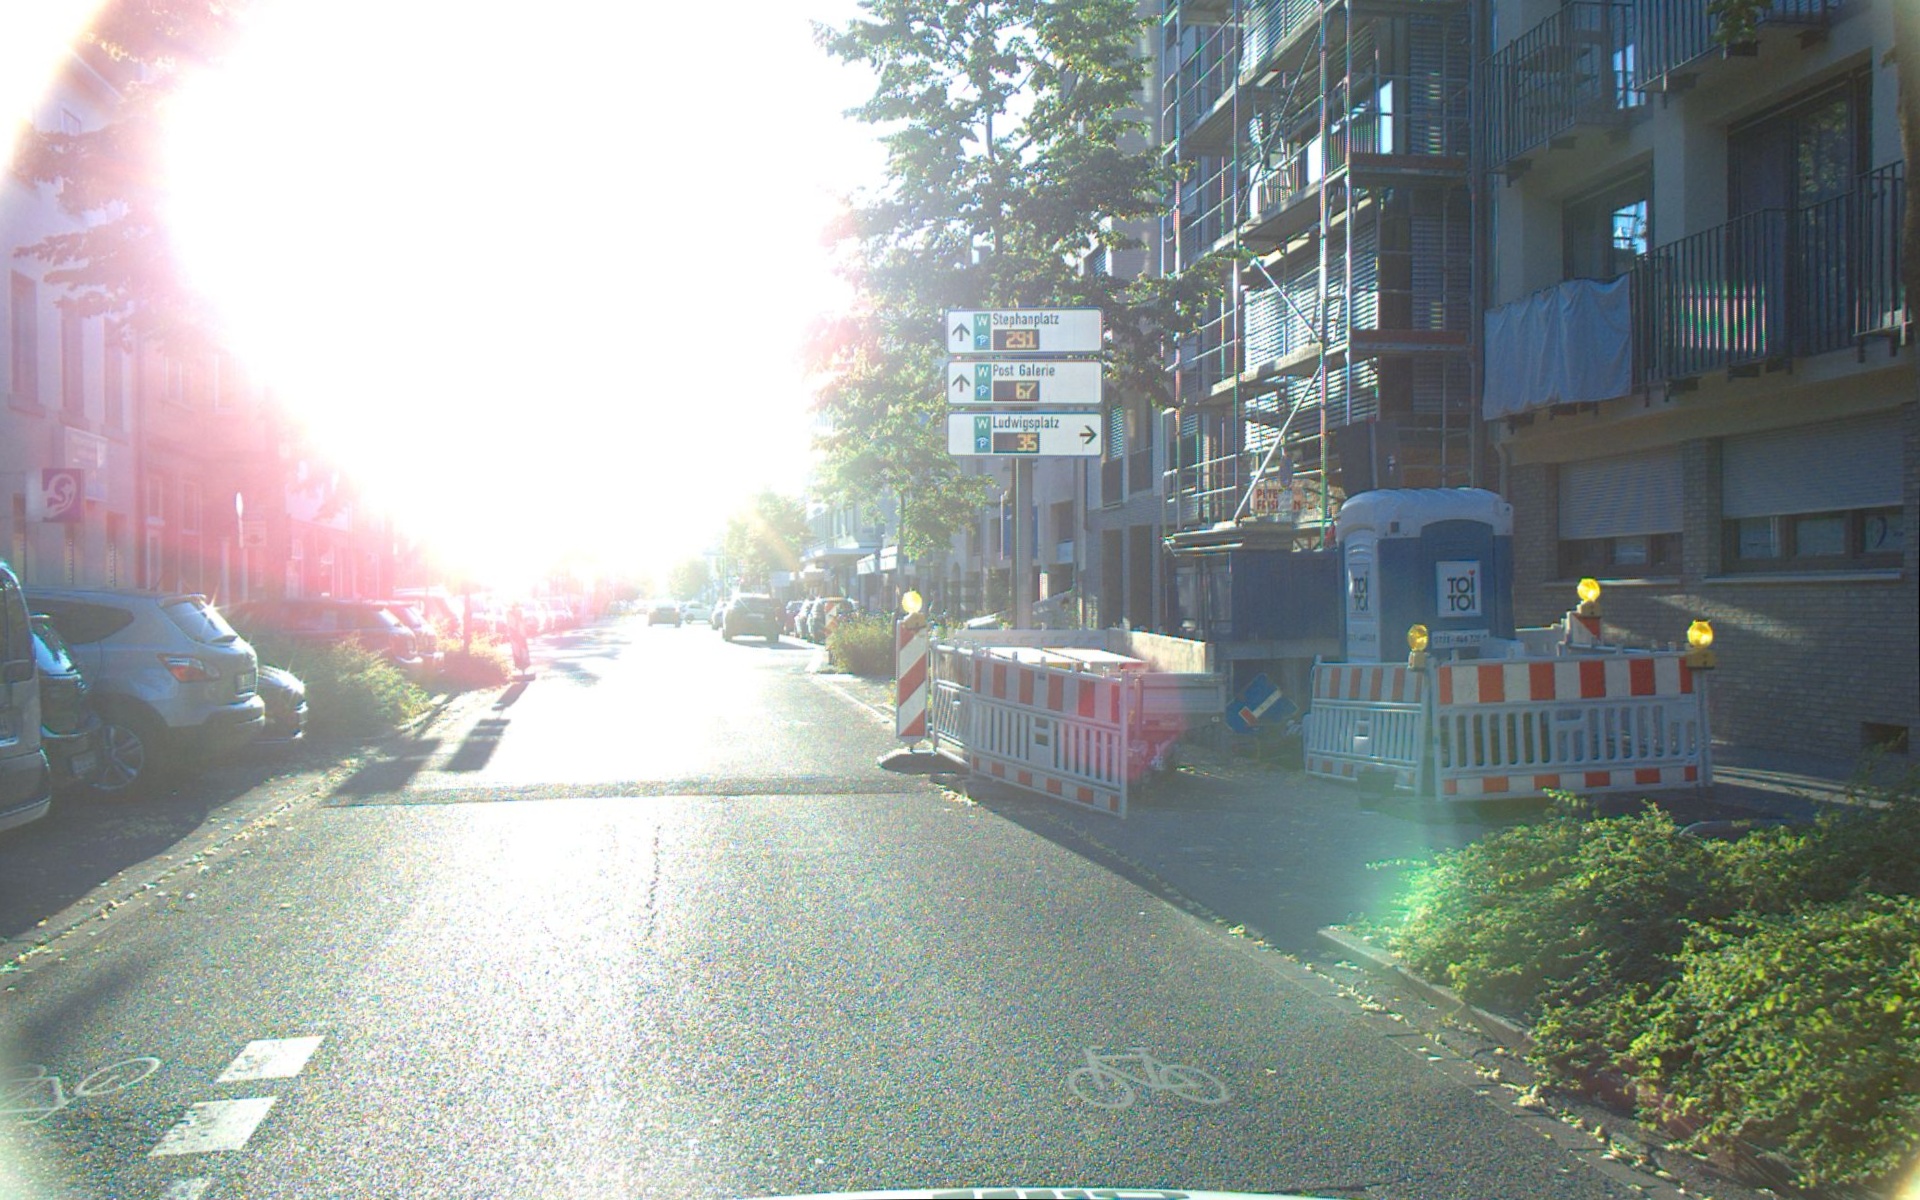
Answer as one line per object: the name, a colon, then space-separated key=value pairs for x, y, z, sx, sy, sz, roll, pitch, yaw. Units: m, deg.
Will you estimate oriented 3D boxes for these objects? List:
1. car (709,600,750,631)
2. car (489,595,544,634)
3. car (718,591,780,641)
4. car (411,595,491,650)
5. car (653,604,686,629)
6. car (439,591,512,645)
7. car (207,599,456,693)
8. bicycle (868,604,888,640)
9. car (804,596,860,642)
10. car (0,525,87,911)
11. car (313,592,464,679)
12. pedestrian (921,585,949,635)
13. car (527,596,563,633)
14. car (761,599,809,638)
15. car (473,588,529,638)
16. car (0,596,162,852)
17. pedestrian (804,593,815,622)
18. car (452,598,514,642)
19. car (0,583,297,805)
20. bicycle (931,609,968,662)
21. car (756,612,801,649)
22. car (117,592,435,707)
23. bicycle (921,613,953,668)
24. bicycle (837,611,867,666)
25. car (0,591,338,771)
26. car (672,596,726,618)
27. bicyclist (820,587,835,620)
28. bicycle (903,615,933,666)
car: x=-11.683 y=0.771 z=83.611 sx=1.887 sy=1.440 sz=4.537 roll=2 pitch=-1 yaw=-10
car: x=-19.521 y=0.605 z=73.028 sx=1.794 sy=1.583 sz=5.124 roll=-2 pitch=0 yaw=-9
car: x=-7.597 y=0.565 z=59.297 sx=1.959 sy=1.684 sz=4.662 roll=2 pitch=0 yaw=-10
car: x=-14.890 y=0.621 z=48.567 sx=1.741 sy=1.541 sz=3.941 roll=0 pitch=0 yaw=-10
car: x=-16.747 y=0.945 z=95.329 sx=1.849 sy=1.440 sz=4.314 roll=0 pitch=0 yaw=-10
car: x=-15.526 y=0.560 z=53.200 sx=1.741 sy=1.661 sz=4.228 roll=-1 pitch=0 yaw=-9
car: x=-9.795 y=0.699 z=25.983 sx=3.333 sy=1.416 sz=1.683 roll=0 pitch=0 yaw=-8
bicycle: x=-2.883 y=0.760 z=58.082 sx=0.390 sy=1.256 sz=1.819 roll=-1 pitch=0 yaw=-12
car: x=-4.558 y=0.652 z=58.717 sx=1.604 sy=1.580 sz=2.686 roll=-1 pitch=0 yaw=-13
car: x=-6.560 y=0.591 z=8.007 sx=3.738 sy=1.882 sz=1.697 roll=-1 pitch=0 yaw=-7
car: x=-11.365 y=0.683 z=33.043 sx=2.648 sy=1.547 sz=1.566 roll=-2 pitch=1 yaw=-14
pedestrian: x=-0.857 y=0.345 z=56.458 sx=0.796 sy=1.675 sz=0.604 roll=-2 pitch=-1 yaw=-11
car: x=-22.091 y=0.775 z=88.075 sx=1.802 sy=1.887 sz=4.109 roll=0 pitch=-1 yaw=-14
car: x=-6.941 y=0.708 z=65.362 sx=1.604 sy=1.449 sz=3.748 roll=-1 pitch=0 yaw=-11
car: x=-18.409 y=0.502 z=66.494 sx=1.795 sy=1.842 sz=5.332 roll=-2 pitch=0 yaw=-12
car: x=-7.353 y=0.763 z=10.681 sx=3.579 sy=1.541 sz=1.647 roll=-1 pitch=0 yaw=-5
pedestrian: x=-9.293 y=0.467 z=102.068 sx=0.674 sy=1.752 sz=0.716 roll=-1 pitch=0 yaw=-5
car: x=-17.383 y=0.708 z=60.408 sx=1.682 sy=1.465 sz=4.299 roll=-2 pitch=0 yaw=-10
car: x=-7.378 y=0.691 z=12.880 sx=3.753 sy=1.613 sz=1.738 roll=1 pitch=-1 yaw=-8
bicycle: x=-0.238 y=0.762 z=35.865 sx=0.376 sy=1.119 sz=1.516 roll=0 pitch=0 yaw=-17
car: x=-7.940 y=1.311 z=72.242 sx=1.672 sy=1.461 sz=3.922 roll=-3 pitch=0 yaw=-10
car: x=-9.592 y=0.673 z=23.472 sx=3.822 sy=1.544 sz=1.852 roll=0 pitch=0 yaw=-10
bicycle: x=-0.526 y=0.901 z=37.172 sx=0.375 sy=1.210 sz=1.517 roll=1 pitch=-1 yaw=-14
bicycle: x=-2.271 y=0.797 z=34.555 sx=0.375 sy=1.119 sz=1.518 roll=0 pitch=0 yaw=-13
car: x=-8.120 y=0.716 z=15.403 sx=4.136 sy=1.543 sz=1.756 roll=-1 pitch=0 yaw=-14
car: x=-18.824 y=0.499 z=119.498 sx=3.590 sy=1.509 sz=1.610 roll=-1 pitch=1 yaw=-41
bicyclist: x=-7.088 y=0.200 z=88.447 sx=0.639 sy=1.732 sz=1.092 roll=0 pitch=0 yaw=-11
bicycle: x=-0.954 y=0.899 z=37.088 sx=0.375 sy=1.119 sz=1.518 roll=0 pitch=-1 yaw=-13
